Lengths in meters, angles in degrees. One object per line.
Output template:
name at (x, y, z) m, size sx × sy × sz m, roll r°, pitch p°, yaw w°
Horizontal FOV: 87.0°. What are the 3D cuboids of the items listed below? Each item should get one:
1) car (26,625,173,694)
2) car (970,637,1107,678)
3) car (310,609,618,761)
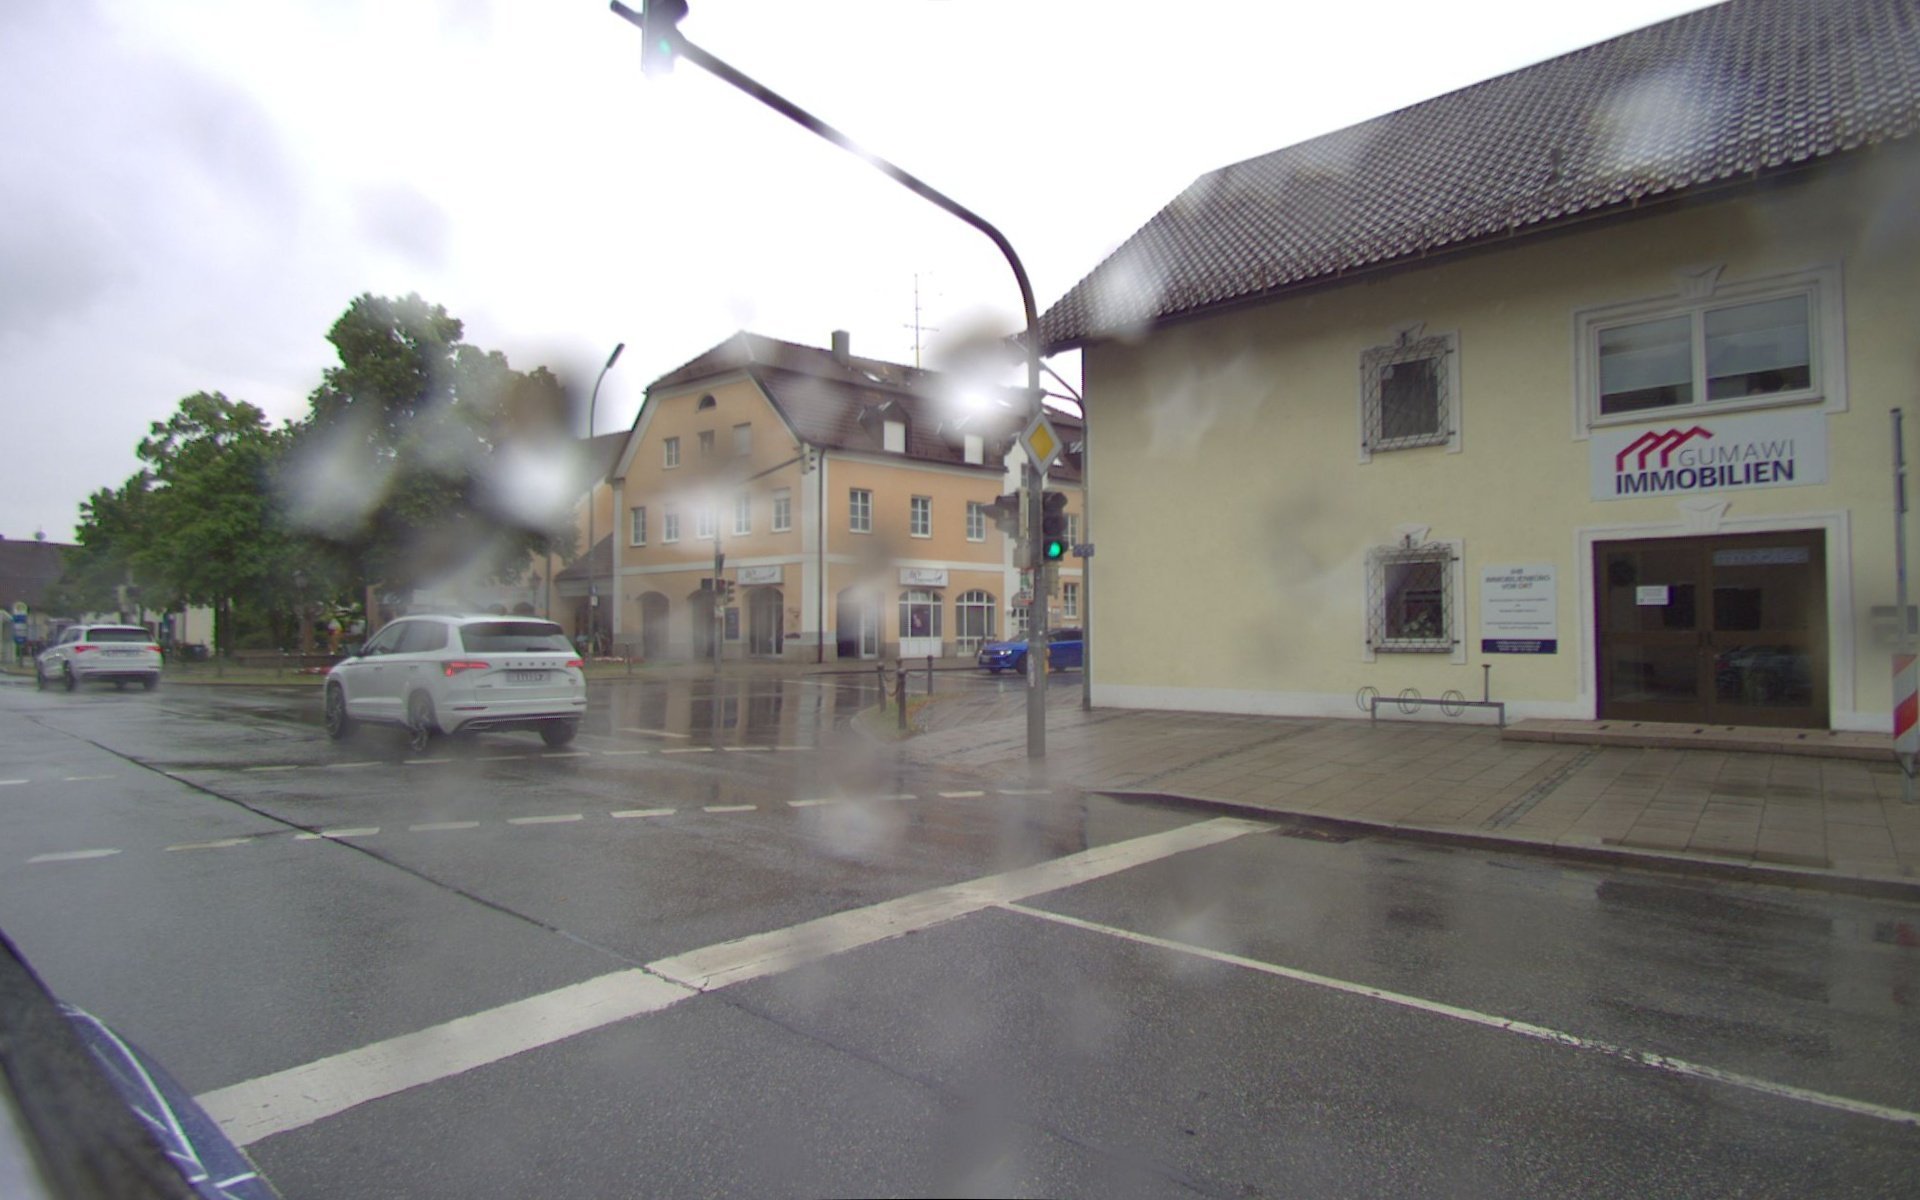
car at (-21.451, 1.438, 25.185) m, size 4.145 × 1.575 × 1.948 m, roll -1°, pitch -3°, yaw 38°
car at (2.555, 1.801, 32.388) m, size 4.288 × 1.194 × 1.693 m, roll 1°, pitch -2°, yaw -35°
car at (-6.259, 0.951, 12.605) m, size 4.122 × 1.578 × 1.907 m, roll -2°, pitch -3°, yaw 39°
